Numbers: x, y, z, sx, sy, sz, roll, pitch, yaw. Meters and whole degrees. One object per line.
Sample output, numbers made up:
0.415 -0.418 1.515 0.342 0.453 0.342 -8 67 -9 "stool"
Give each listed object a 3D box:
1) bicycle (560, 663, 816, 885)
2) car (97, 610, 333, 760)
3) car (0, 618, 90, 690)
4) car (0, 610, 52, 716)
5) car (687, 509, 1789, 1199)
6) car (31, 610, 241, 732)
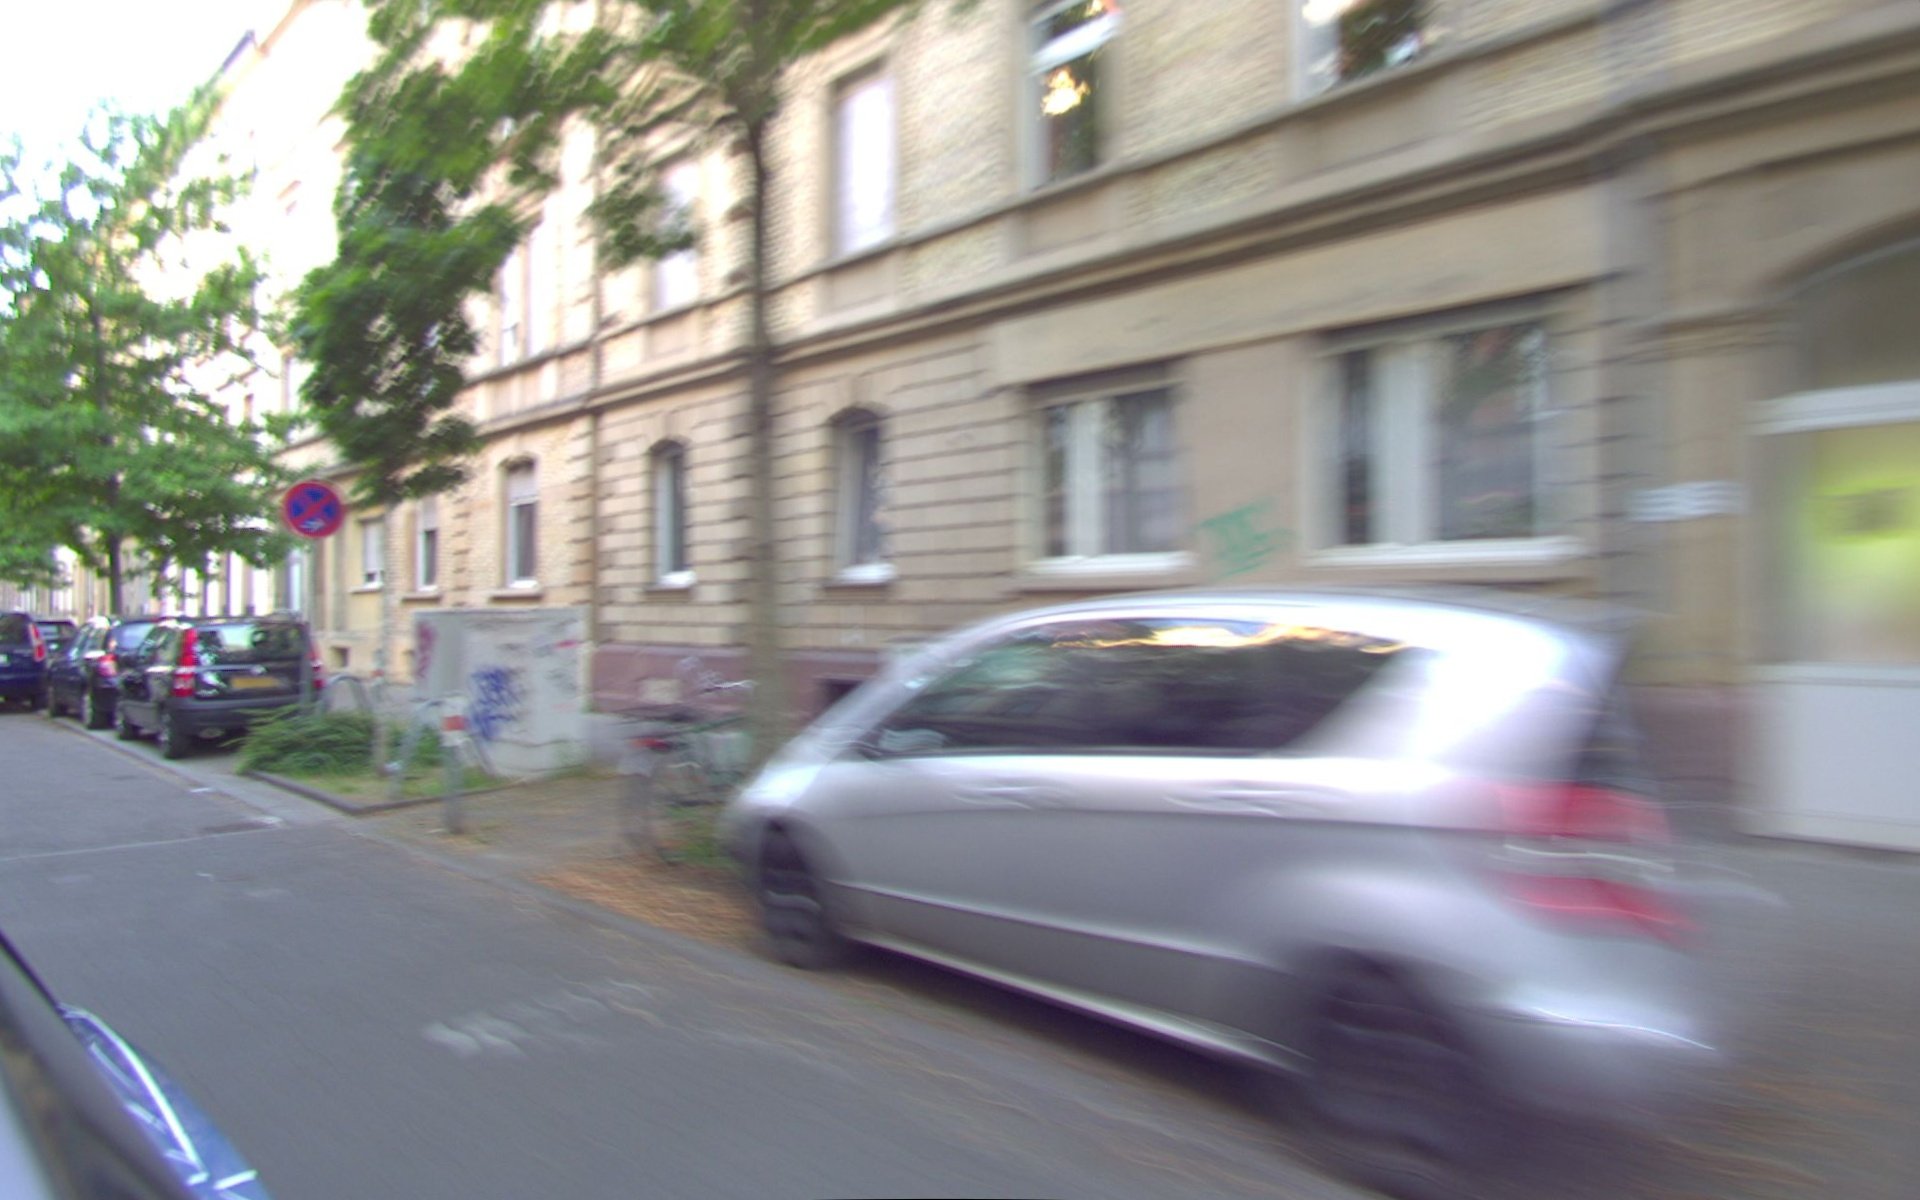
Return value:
-1.644 1.004 6.465 0.592 1.068 1.857 -1 0 21 "bicycle"
-9.016 0.892 12.153 3.559 1.513 1.504 -1 0 40 "car"
-20.902 1.132 22.424 4.254 1.473 1.749 -1 -1 39 "car"
-16.156 0.962 16.320 4.217 1.585 1.706 -1 -1 41 "car"
0.717 0.647 3.991 3.861 1.619 1.658 -1 -1 42 "car"
-12.013 0.923 14.685 3.708 1.513 1.674 -1 0 40 "car"
